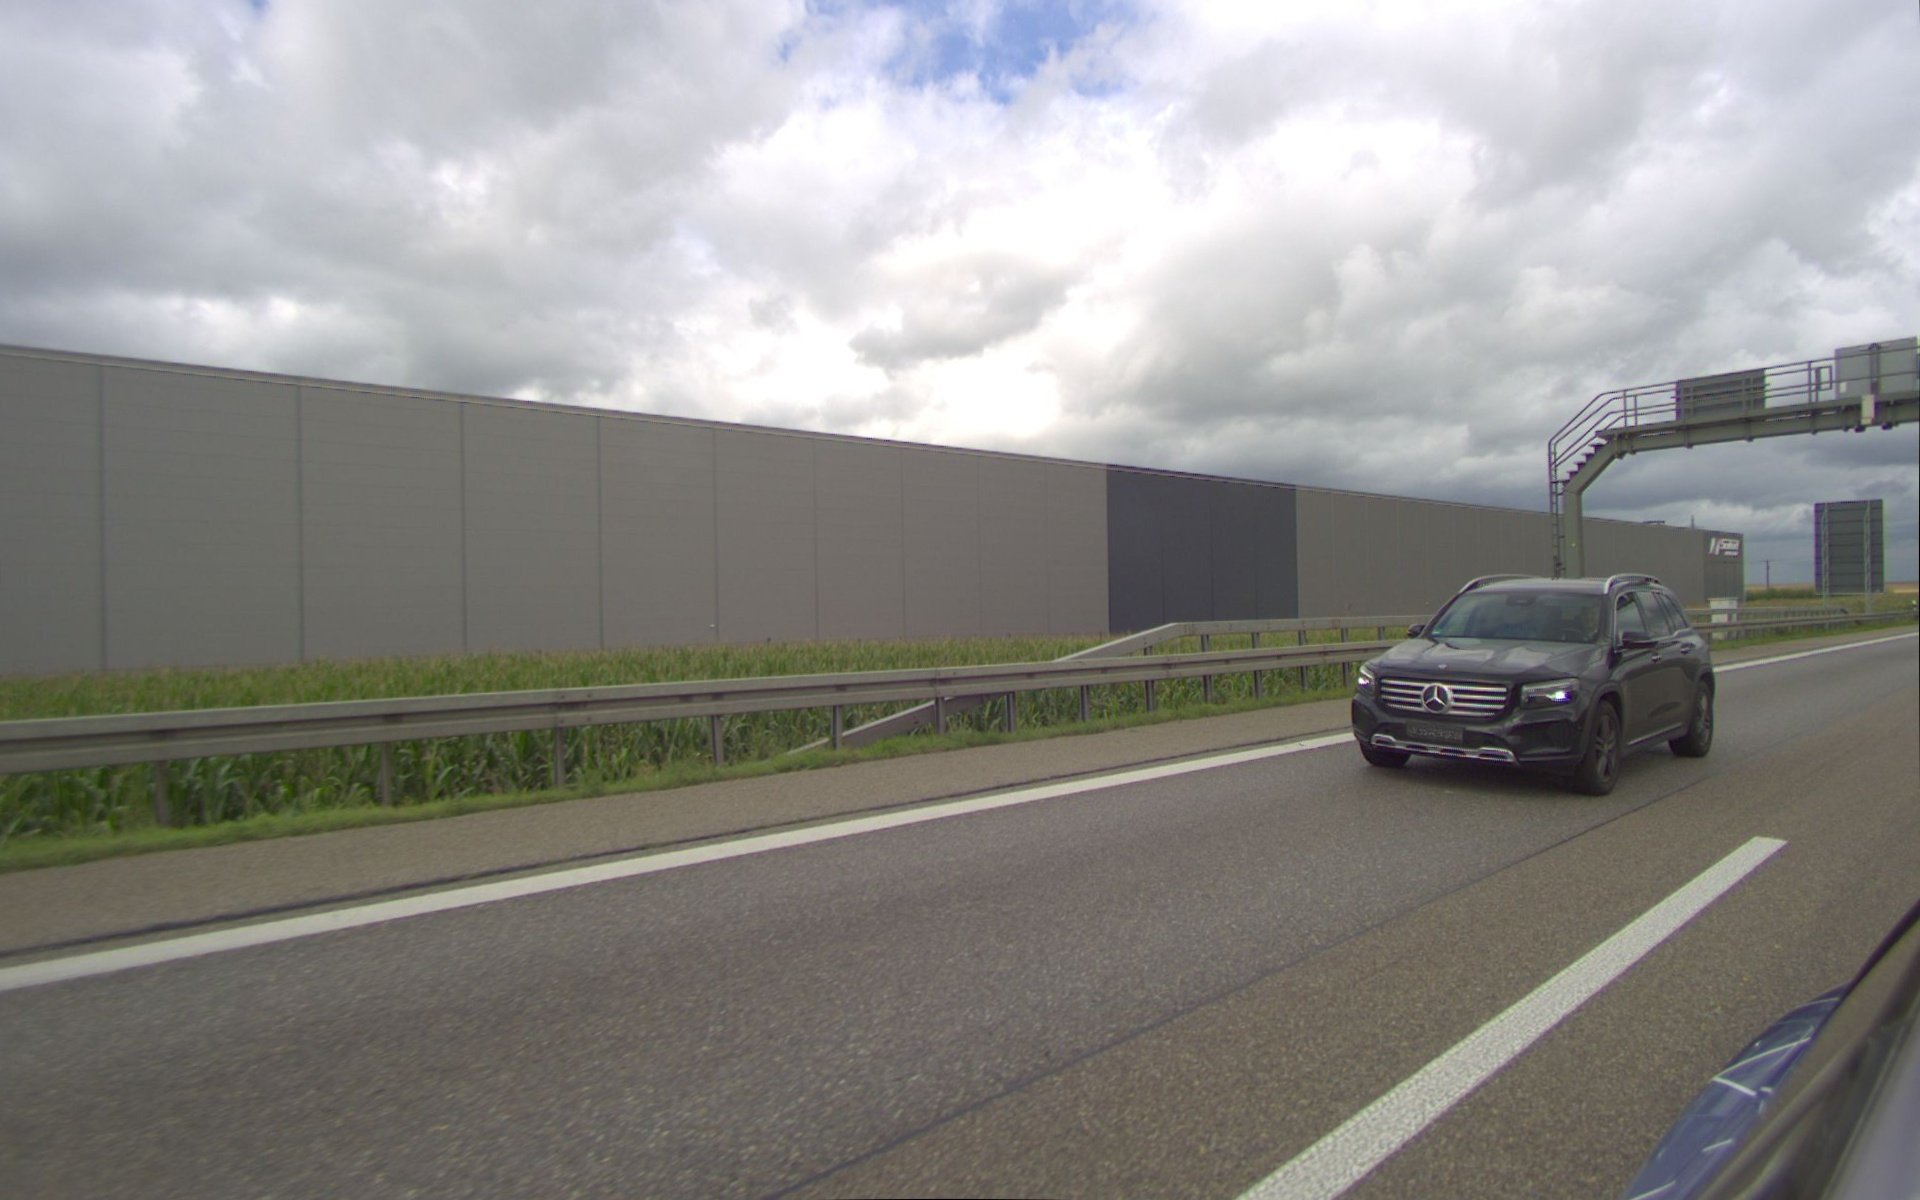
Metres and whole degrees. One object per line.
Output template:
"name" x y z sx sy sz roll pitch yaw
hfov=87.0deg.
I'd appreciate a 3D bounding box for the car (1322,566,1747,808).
"car" 5.175 0.537 8.881 4.282 1.629 1.837 -1 1 -39
